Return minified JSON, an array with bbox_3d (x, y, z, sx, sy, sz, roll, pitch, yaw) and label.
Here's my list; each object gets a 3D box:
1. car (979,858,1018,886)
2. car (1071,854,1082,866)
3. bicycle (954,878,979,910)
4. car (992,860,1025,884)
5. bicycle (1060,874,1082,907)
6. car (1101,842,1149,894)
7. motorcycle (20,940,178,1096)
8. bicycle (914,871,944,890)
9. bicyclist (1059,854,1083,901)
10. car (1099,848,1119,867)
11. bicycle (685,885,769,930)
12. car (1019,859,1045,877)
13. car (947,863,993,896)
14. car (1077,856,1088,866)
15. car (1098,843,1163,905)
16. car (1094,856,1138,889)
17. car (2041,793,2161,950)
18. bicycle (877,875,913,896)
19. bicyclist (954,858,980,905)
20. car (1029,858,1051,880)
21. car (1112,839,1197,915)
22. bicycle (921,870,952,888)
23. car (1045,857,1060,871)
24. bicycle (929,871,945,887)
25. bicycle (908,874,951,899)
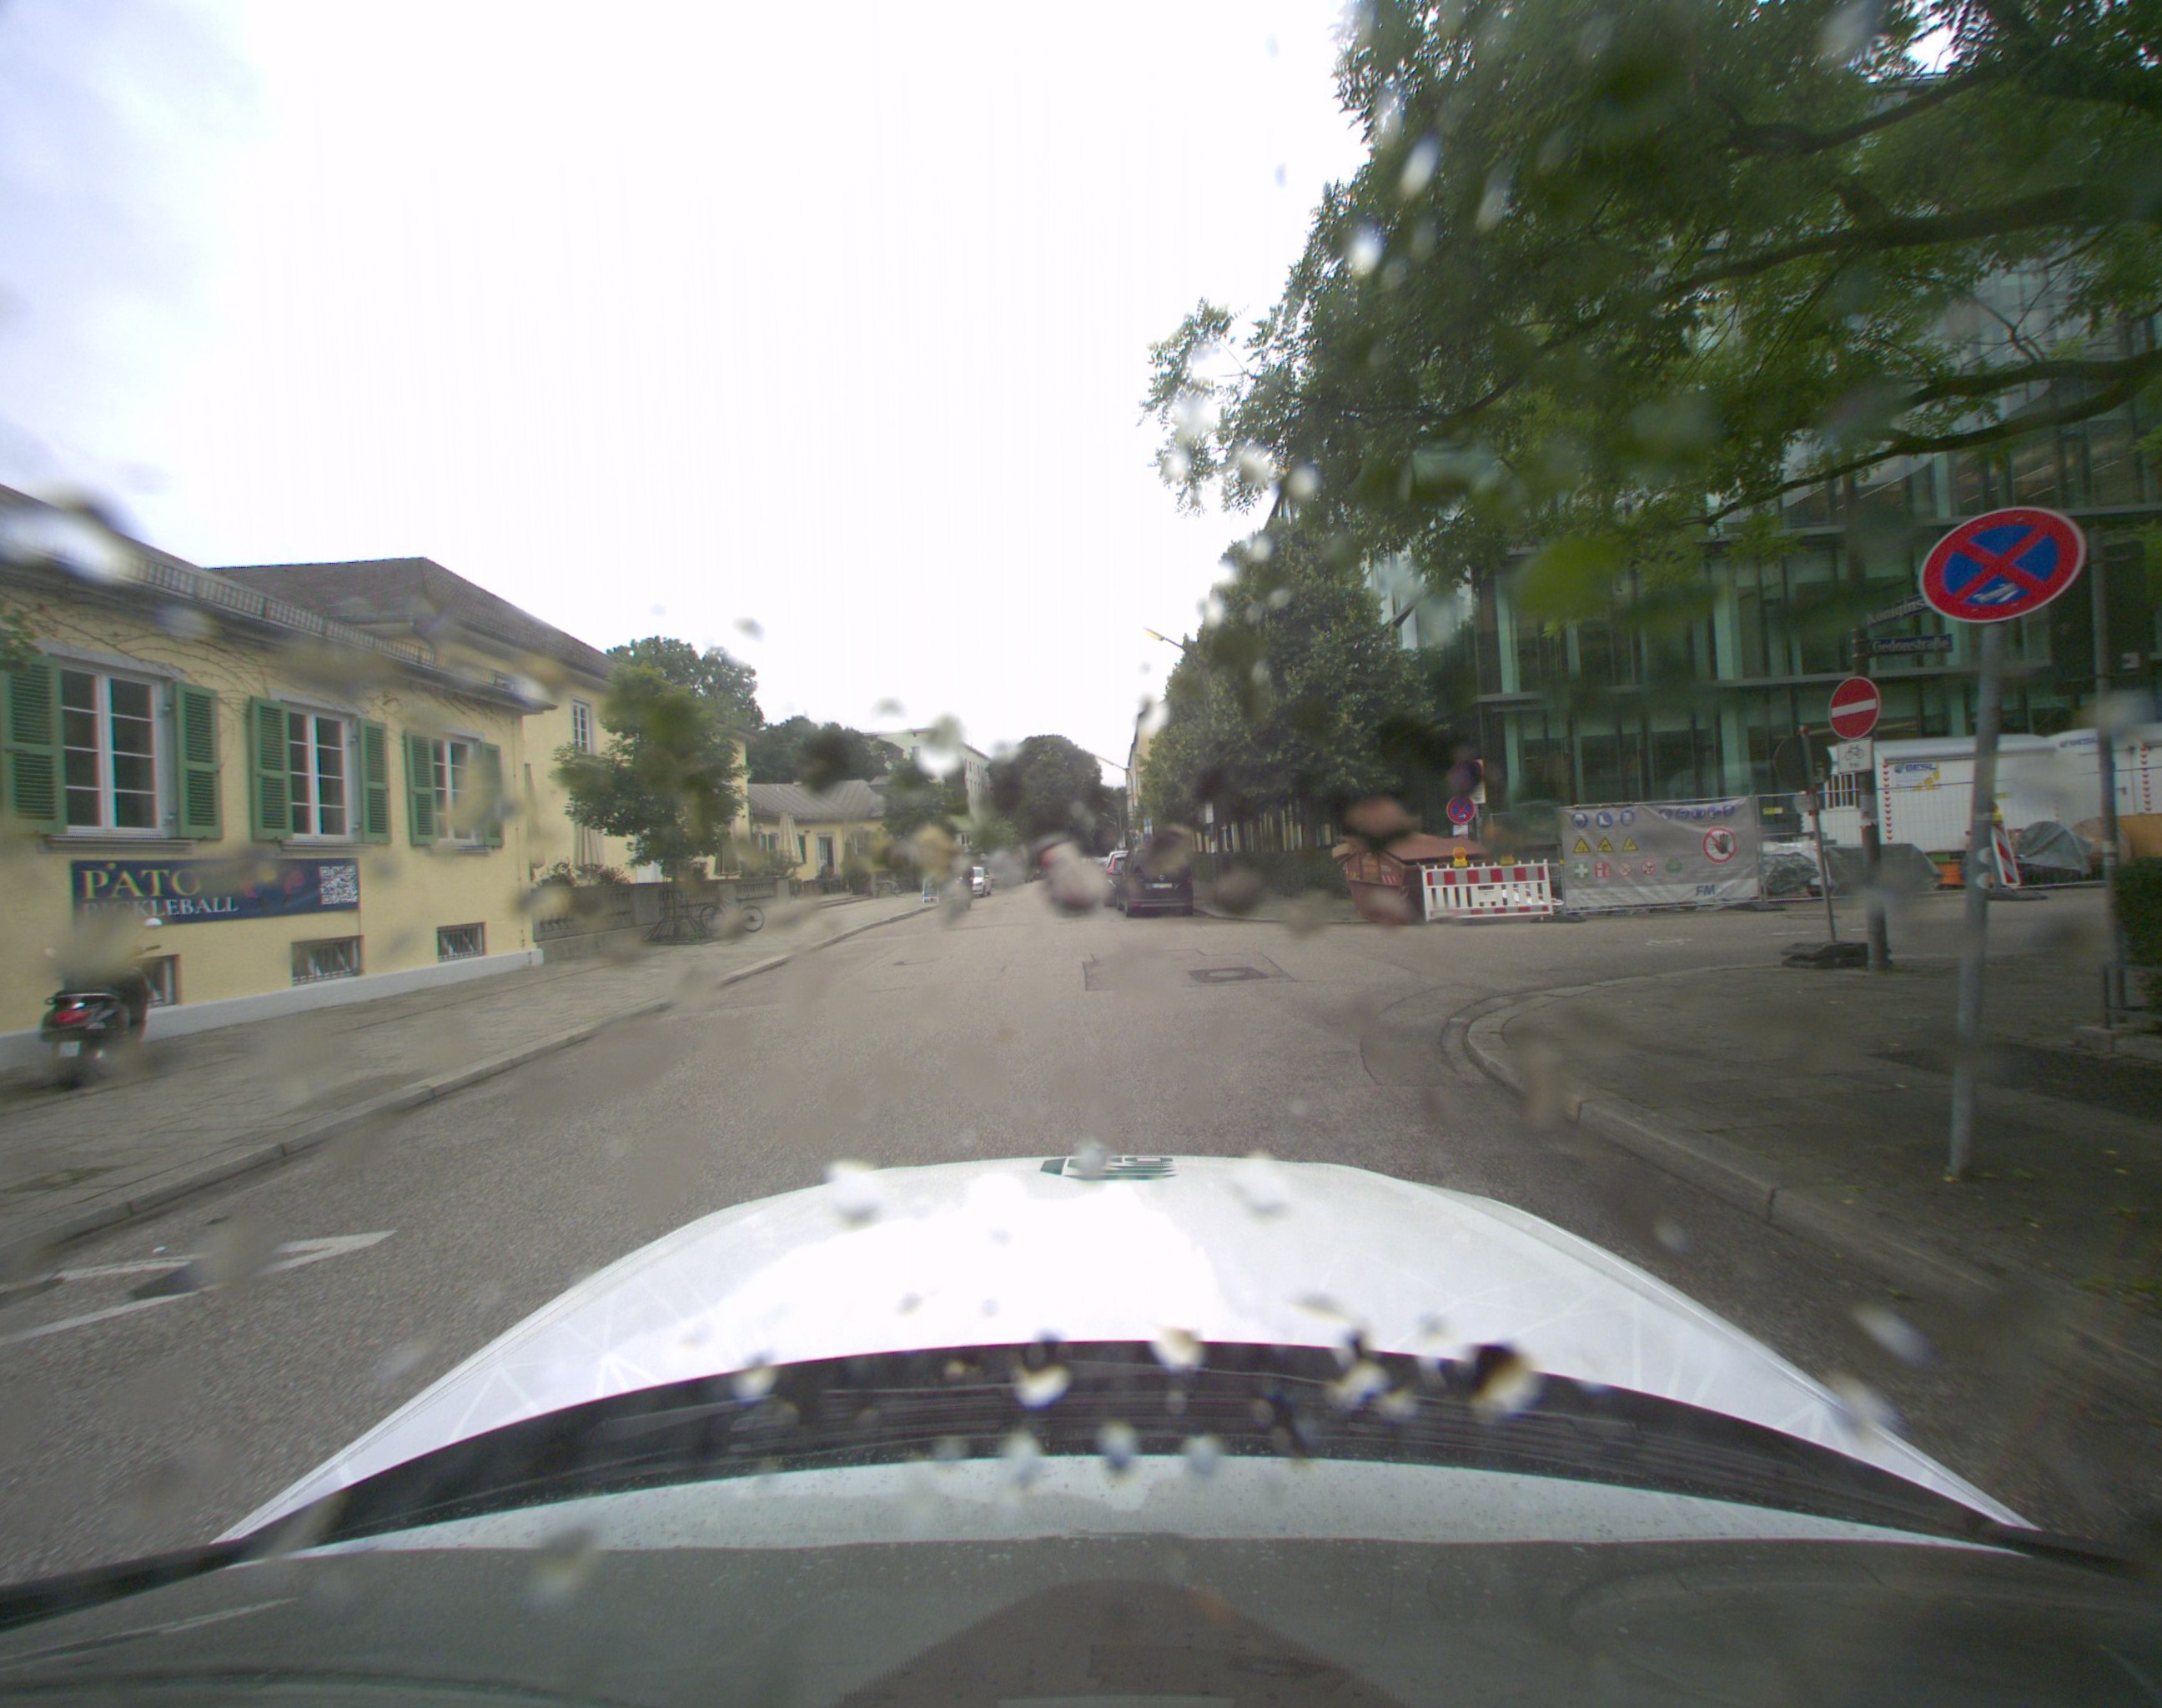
[{"bbox_3d":[-5.380,1.152,53.563,1.987,1.648,4.655,-3,0,0],"label":"car"},{"bbox_3d":[-0.847,0.984,145.801,1.987,2.099,3.999,0,0,0],"label":"car"},{"bbox_3d":[-4.026,1.393,28.756,0.620,1.004,2.137,-3,0,-3],"label":"bicycle"},{"bbox_3d":[-5.187,1.301,58.645,1.988,1.603,3.998,-3,-1,-1],"label":"car"},{"bbox_3d":[-0.321,1.187,26.923,0.619,1.004,2.140,-3,-2,0],"label":"bicycle"},{"bbox_3d":[1.751,0.537,33.444,1.743,1.943,4.228,-3,0,1],"label":"car"},{"bbox_3d":[-8.872,1.411,7.427,0.561,1.101,1.817,-1,-1,-39],"label":"motorcycle"},{"bbox_3d":[-9.062,1.560,48.622,1.627,1.004,0.616,-3,-1,-38],"label":"bicycle"},{"bbox_3d":[-0.332,0.784,26.974,0.669,1.497,1.095,-3,-2,1],"label":"bicyclist"},{"bbox_3d":[3.244,0.390,96.292,1.988,2.060,4.620,-2,0,-2],"label":"car"},{"bbox_3d":[-9.264,1.394,21.358,1.924,1.099,0.615,-1,0,0],"label":"bicycle"},{"bbox_3d":[-4.581,1.326,76.544,1.986,1.486,4.002,-3,0,2],"label":"car"},{"bbox_3d":[-5.521,1.232,40.961,1.728,1.581,3.787,0,0,1],"label":"car"},{"bbox_3d":[0.261,1.397,157.703,1.986,2.014,4.001,0,-1,1],"label":"car"},{"bbox_3d":[1.571,0.611,27.226,1.857,1.794,4.509,-3,0,0],"label":"car"},{"bbox_3d":[1.627,0.853,38.970,1.857,1.440,4.254,-2,0,0],"label":"car"},{"bbox_3d":[12.309,0.052,7.665,4.189,1.486,1.870,-3,-1,2],"label":"car"},{"bbox_3d":[-9.259,1.560,40.548,1.622,0.926,0.645,-3,-2,-27],"label":"bicycle"},{"bbox_3d":[-4.031,0.954,28.815,0.741,1.576,0.976,-3,0,-3],"label":"bicyclist"},{"bbox_3d":[-4.250,1.543,85.145,1.987,2.079,3.999,-3,0,0],"label":"car"},{"bbox_3d":[1.925,0.579,22.418,1.756,1.823,4.135,-2,0,-2],"label":"car"},{"bbox_3d":[-8.400,1.457,47.490,1.623,1.004,0.617,-2,-2,-29],"label":"bicycle"},{"bbox_3d":[-3.738,1.289,107.942,1.804,1.683,3.999,-3,0,0],"label":"car"},{"bbox_3d":[-9.293,1.603,52.493,0.619,1.004,1.620,-3,-2,3],"label":"bicycle"},{"bbox_3d":[-6.742,1.436,36.383,0.615,1.004,2.153,0,0,31],"label":"bicycle"}]
